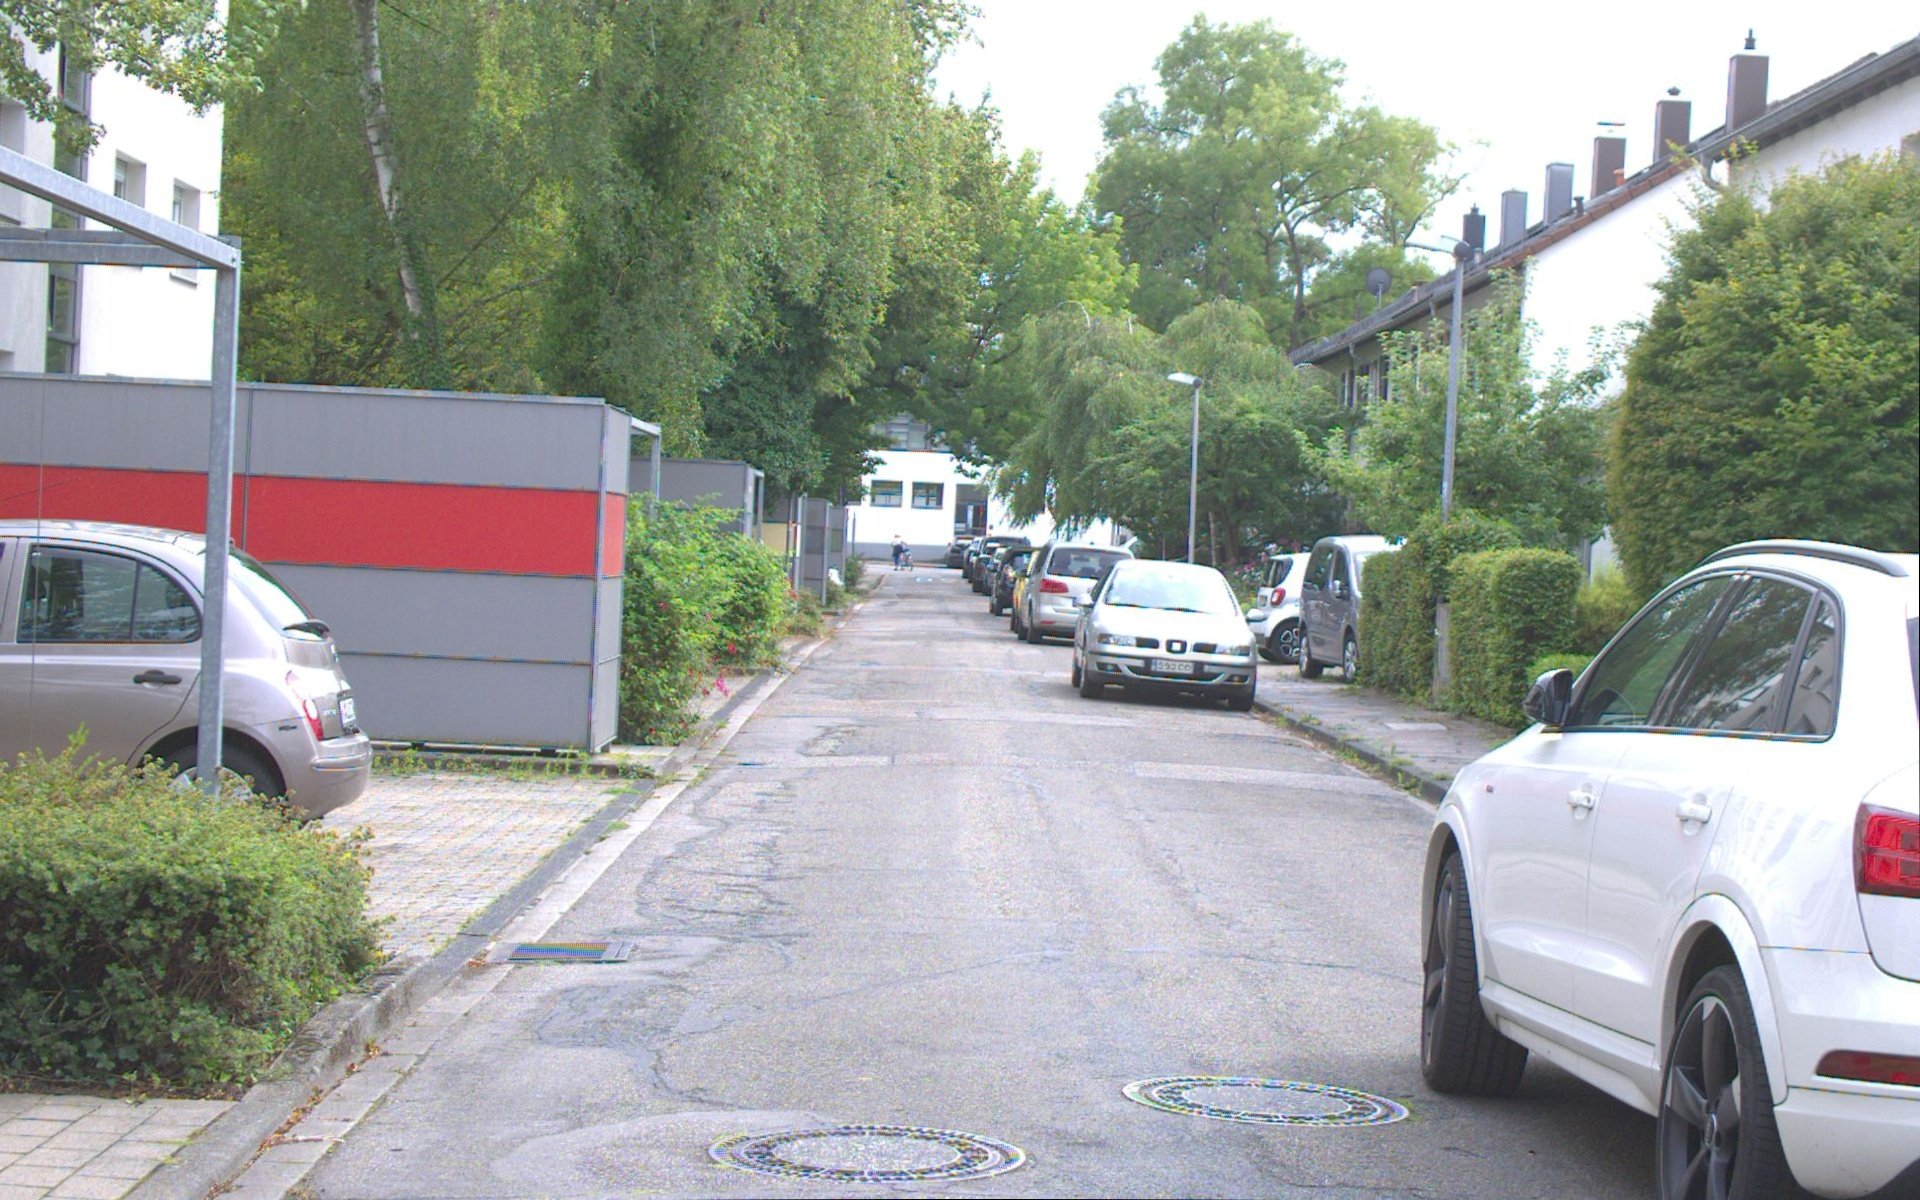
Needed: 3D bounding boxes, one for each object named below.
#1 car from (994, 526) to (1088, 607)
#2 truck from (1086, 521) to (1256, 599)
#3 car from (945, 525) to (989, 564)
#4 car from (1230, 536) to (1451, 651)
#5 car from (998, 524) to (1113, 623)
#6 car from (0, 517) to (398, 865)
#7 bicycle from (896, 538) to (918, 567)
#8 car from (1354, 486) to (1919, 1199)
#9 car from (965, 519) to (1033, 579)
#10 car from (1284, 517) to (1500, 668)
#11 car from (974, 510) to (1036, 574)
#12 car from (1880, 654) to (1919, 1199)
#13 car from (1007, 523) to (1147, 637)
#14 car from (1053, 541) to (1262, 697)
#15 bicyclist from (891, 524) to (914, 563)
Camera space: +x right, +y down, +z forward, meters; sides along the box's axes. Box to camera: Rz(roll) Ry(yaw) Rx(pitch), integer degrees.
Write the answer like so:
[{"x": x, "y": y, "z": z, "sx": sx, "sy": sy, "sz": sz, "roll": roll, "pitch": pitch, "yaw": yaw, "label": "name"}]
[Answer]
[{"x": 1.721, "y": -0.748, "z": 74.456, "sx": 1.825, "sy": 1.576, "sz": 4.193, "roll": 5, "pitch": 1, "yaw": 0, "label": "car"}, {"x": 5.666, "y": -1.084, "z": 92.690, "sx": 4.390, "sy": 2.007, "sz": 2.000, "roll": 1, "pitch": 1, "yaw": -1, "label": "truck"}, {"x": 0.316, "y": -2.452, "z": 152.106, "sx": 1.825, "sy": 1.576, "sz": 4.000, "roll": 5, "pitch": 1, "yaw": 0, "label": "car"}, {"x": 5.285, "y": -0.103, "z": 47.997, "sx": 2.816, "sy": 1.564, "sz": 1.741, "roll": 0, "pitch": 1, "yaw": -3, "label": "car"}, {"x": 1.671, "y": -0.504, "z": 61.393, "sx": 1.825, "sy": 1.576, "sz": 4.000, "roll": 5, "pitch": 1, "yaw": 0, "label": "car"}, {"x": -4.462, "y": 0.361, "z": 15.766, "sx": 3.561, "sy": 1.475, "sz": 1.711, "roll": 1, "pitch": 1, "yaw": -5, "label": "car"}, {"x": -2.161, "y": -1.939, "z": 139.511, "sx": 0.689, "sy": 1.127, "sz": 2.579, "roll": 4, "pitch": 1, "yaw": 2, "label": "bicycle"}, {"x": 2.264, "y": 0.626, "z": 8.246, "sx": 1.824, "sy": 1.630, "sz": 4.163, "roll": 4, "pitch": 1, "yaw": -3, "label": "car"}, {"x": 1.108, "y": -1.498, "z": 99.633, "sx": 1.825, "sy": 1.576, "sz": 4.000, "roll": 5, "pitch": 1, "yaw": 0, "label": "car"}, {"x": 5.270, "y": -0.115, "z": 42.431, "sx": 1.825, "sy": 1.771, "sz": 4.341, "roll": 0, "pitch": 1, "yaw": -4, "label": "car"}, {"x": 1.440, "y": -1.883, "z": 111.230, "sx": 1.825, "sy": 1.877, "sz": 4.000, "roll": 5, "pitch": 1, "yaw": 0, "label": "car"}, {"x": 2.406, "y": 0.599, "z": 2.532, "sx": 1.903, "sy": 1.958, "sz": 5.254, "roll": 4, "pitch": 1, "yaw": -1, "label": "car"}, {"x": 1.805, "y": -0.346, "z": 54.219, "sx": 1.825, "sy": 1.576, "sz": 4.001, "roll": 5, "pitch": 1, "yaw": -2, "label": "car"}, {"x": 1.984, "y": 0.150, "z": 35.698, "sx": 1.825, "sy": 1.365, "sz": 4.331, "roll": 5, "pitch": 1, "yaw": 0, "label": "car"}, {"x": -2.328, "y": -2.283, "z": 139.596, "sx": 0.798, "sy": 1.505, "sz": 0.934, "roll": 4, "pitch": 1, "yaw": 2, "label": "bicyclist"}]
